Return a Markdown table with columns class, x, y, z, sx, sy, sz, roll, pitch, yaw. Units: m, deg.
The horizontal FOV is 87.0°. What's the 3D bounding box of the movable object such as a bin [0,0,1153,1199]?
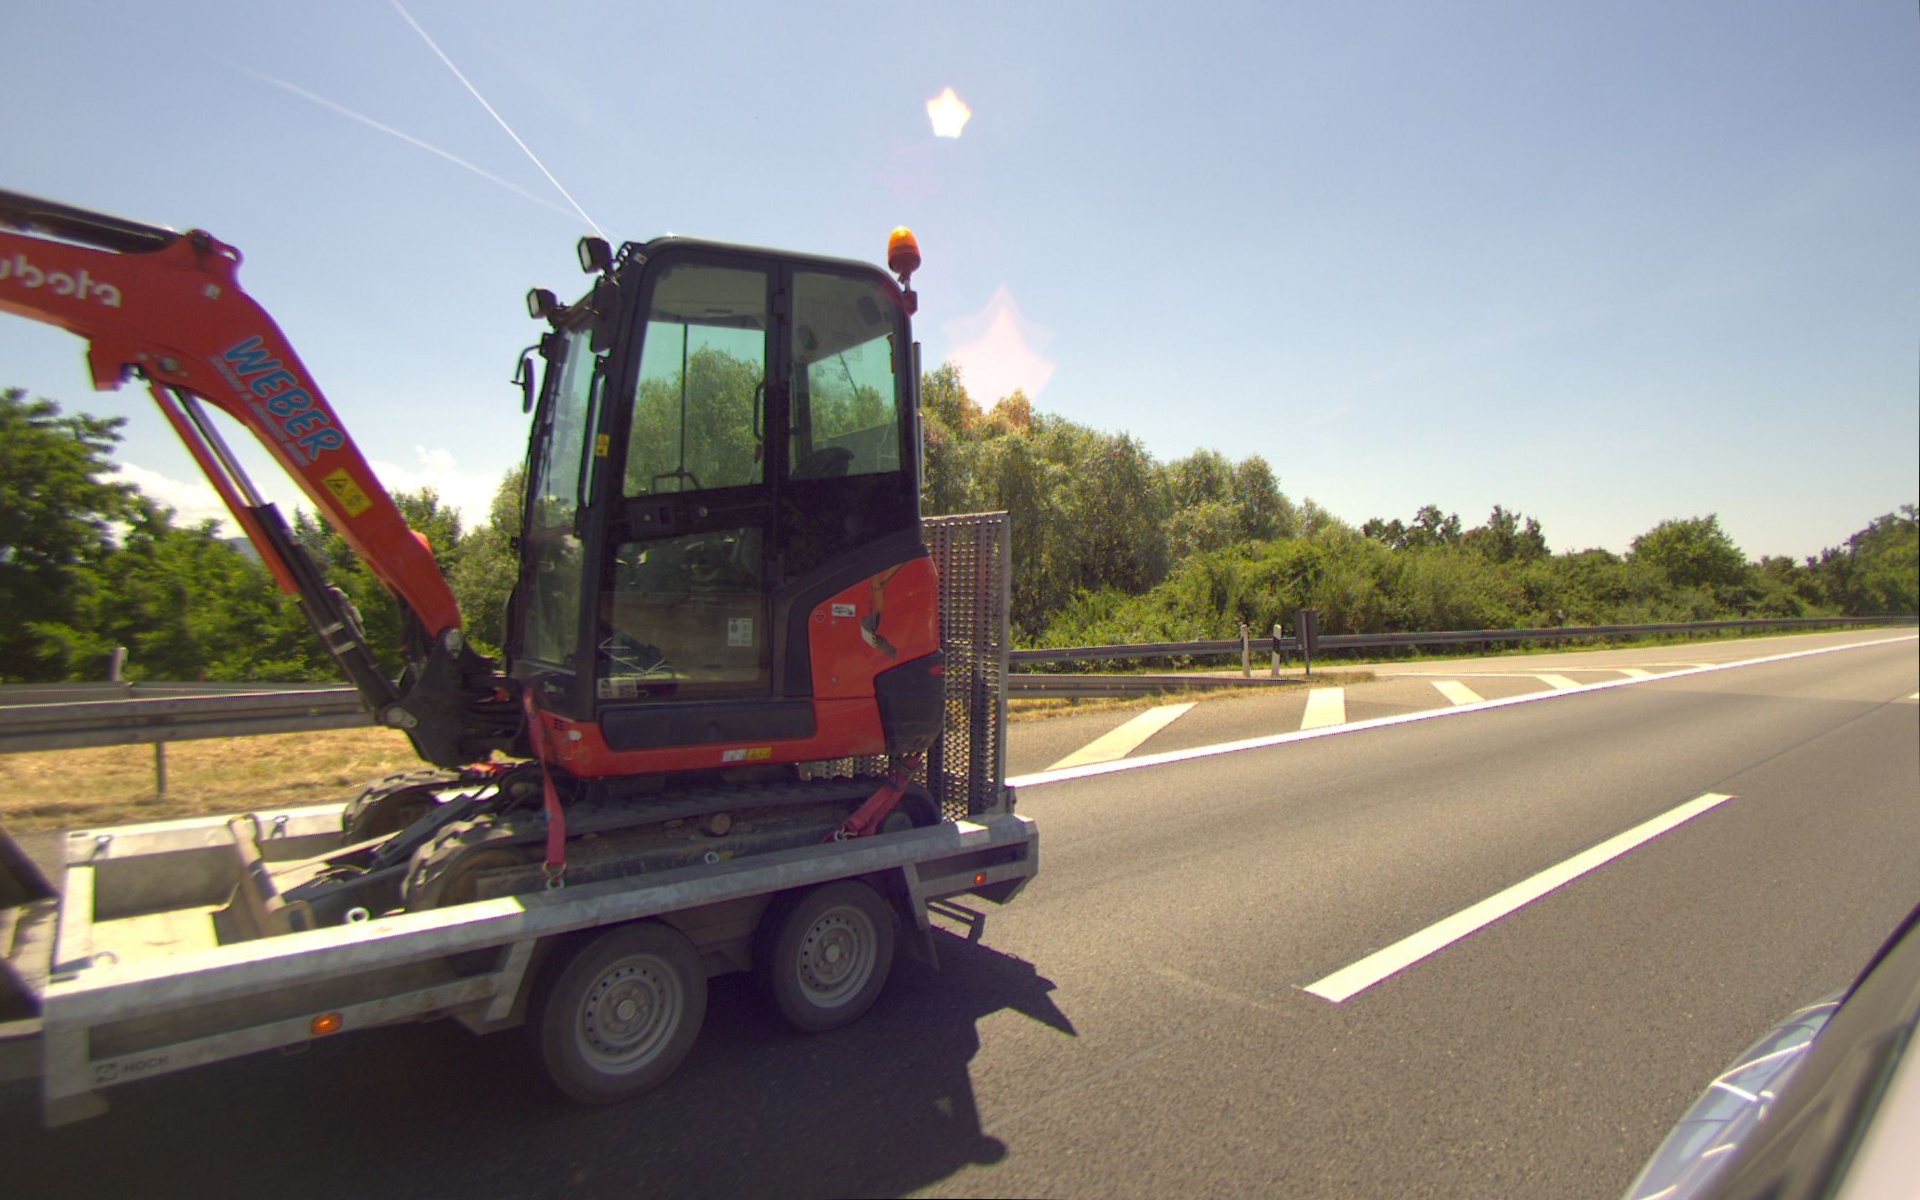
| class | x | y | z | sx | sy | sz | roll | pitch | yaw |
| --- | --- | --- | --- | --- | --- | --- | --- | --- | --- |
| movable object such as a bin | -1.645 | -0.081 | 3.660 | 4.678 | 2.851 | 2.178 | 0 | 0 | -41 |
